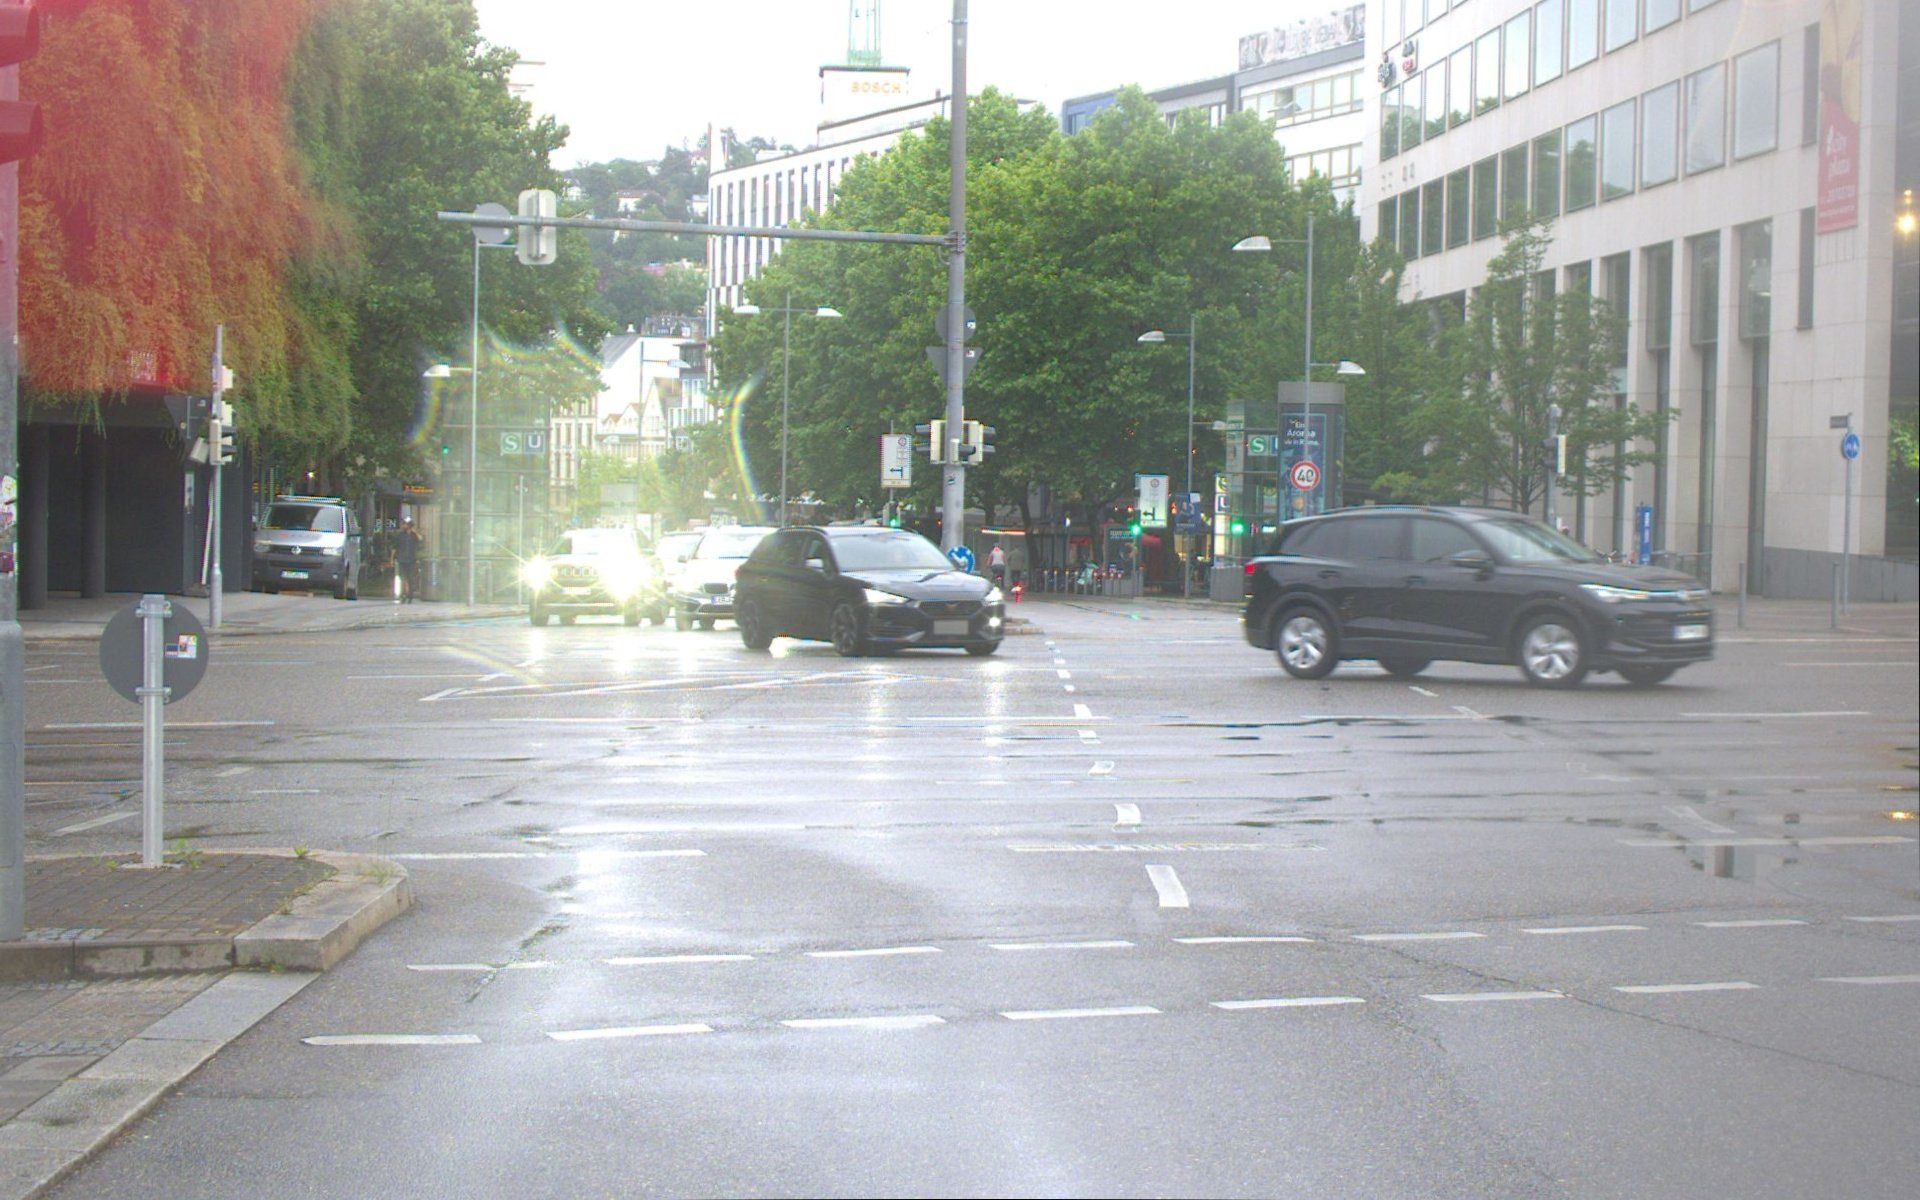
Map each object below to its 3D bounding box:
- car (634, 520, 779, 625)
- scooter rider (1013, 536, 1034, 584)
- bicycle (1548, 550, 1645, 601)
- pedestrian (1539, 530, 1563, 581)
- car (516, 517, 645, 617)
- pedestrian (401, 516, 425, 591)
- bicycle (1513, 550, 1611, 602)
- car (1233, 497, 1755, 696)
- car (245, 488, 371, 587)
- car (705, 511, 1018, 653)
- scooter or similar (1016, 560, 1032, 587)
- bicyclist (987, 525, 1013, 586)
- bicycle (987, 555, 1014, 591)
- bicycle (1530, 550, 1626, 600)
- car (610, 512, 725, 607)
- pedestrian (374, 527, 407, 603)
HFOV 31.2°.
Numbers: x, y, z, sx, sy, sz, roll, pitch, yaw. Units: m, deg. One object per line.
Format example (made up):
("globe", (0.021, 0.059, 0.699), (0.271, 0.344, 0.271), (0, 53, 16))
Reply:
("car", (-3.809, -0.457, 52.345), (1.993, 1.438, 4.556), (0, 2, -2))
("scooter rider", (2.362, -1.495, 128.443), (0.762, 1.768, 0.796), (0, 1, 0))
("bicycle", (12.003, -0.465, 64.875), (1.799, 0.931, 0.474), (1, 1, 41))
("pedestrian", (13.764, -1.041, 80.019), (0.353, 1.169, 0.415), (0, 1, -36))
("car", (-6.283, -0.572, 57.353), (1.993, 1.592, 4.466), (0, 1, -4))
("pedestrian", (-11.116, -0.943, 69.851), (0.436, 1.519, 0.548), (0, 1, -5))
("bicycle", (11.238, -0.456, 64.233), (1.799, 0.931, 0.474), (1, 1, 41))
("car", (4.852, -0.096, 31.569), (4.360, 1.649, 1.966), (2, 3, 41))
("car", (-12.921, -1.255, 68.313), (1.993, 1.888, 4.466), (0, 1, -5))
("car", (-1.179, -0.249, 38.456), (1.856, 1.443, 4.622), (0, 2, -24))
("scooter or similar", (2.389, -0.992, 128.551), (0.556, 1.003, 1.824), (0, 1, 0))
("bicyclist", (1.285, -1.450, 111.074), (0.791, 1.968, 1.114), (0, 1, -2))
("bicycle", (1.290, -0.874, 111.085), (0.791, 1.113, 2.256), (0, 1, -1))
("bicycle", (11.828, -0.479, 65.841), (1.799, 0.931, 0.474), (1, 1, 41))
("car", (-5.892, -0.827, 68.791), (2.174, 1.817, 4.645), (0, 1, -6))
("pedestrian", (-11.558, -0.712, 69.826), (0.607, 1.519, 0.588), (0, 1, -5))
